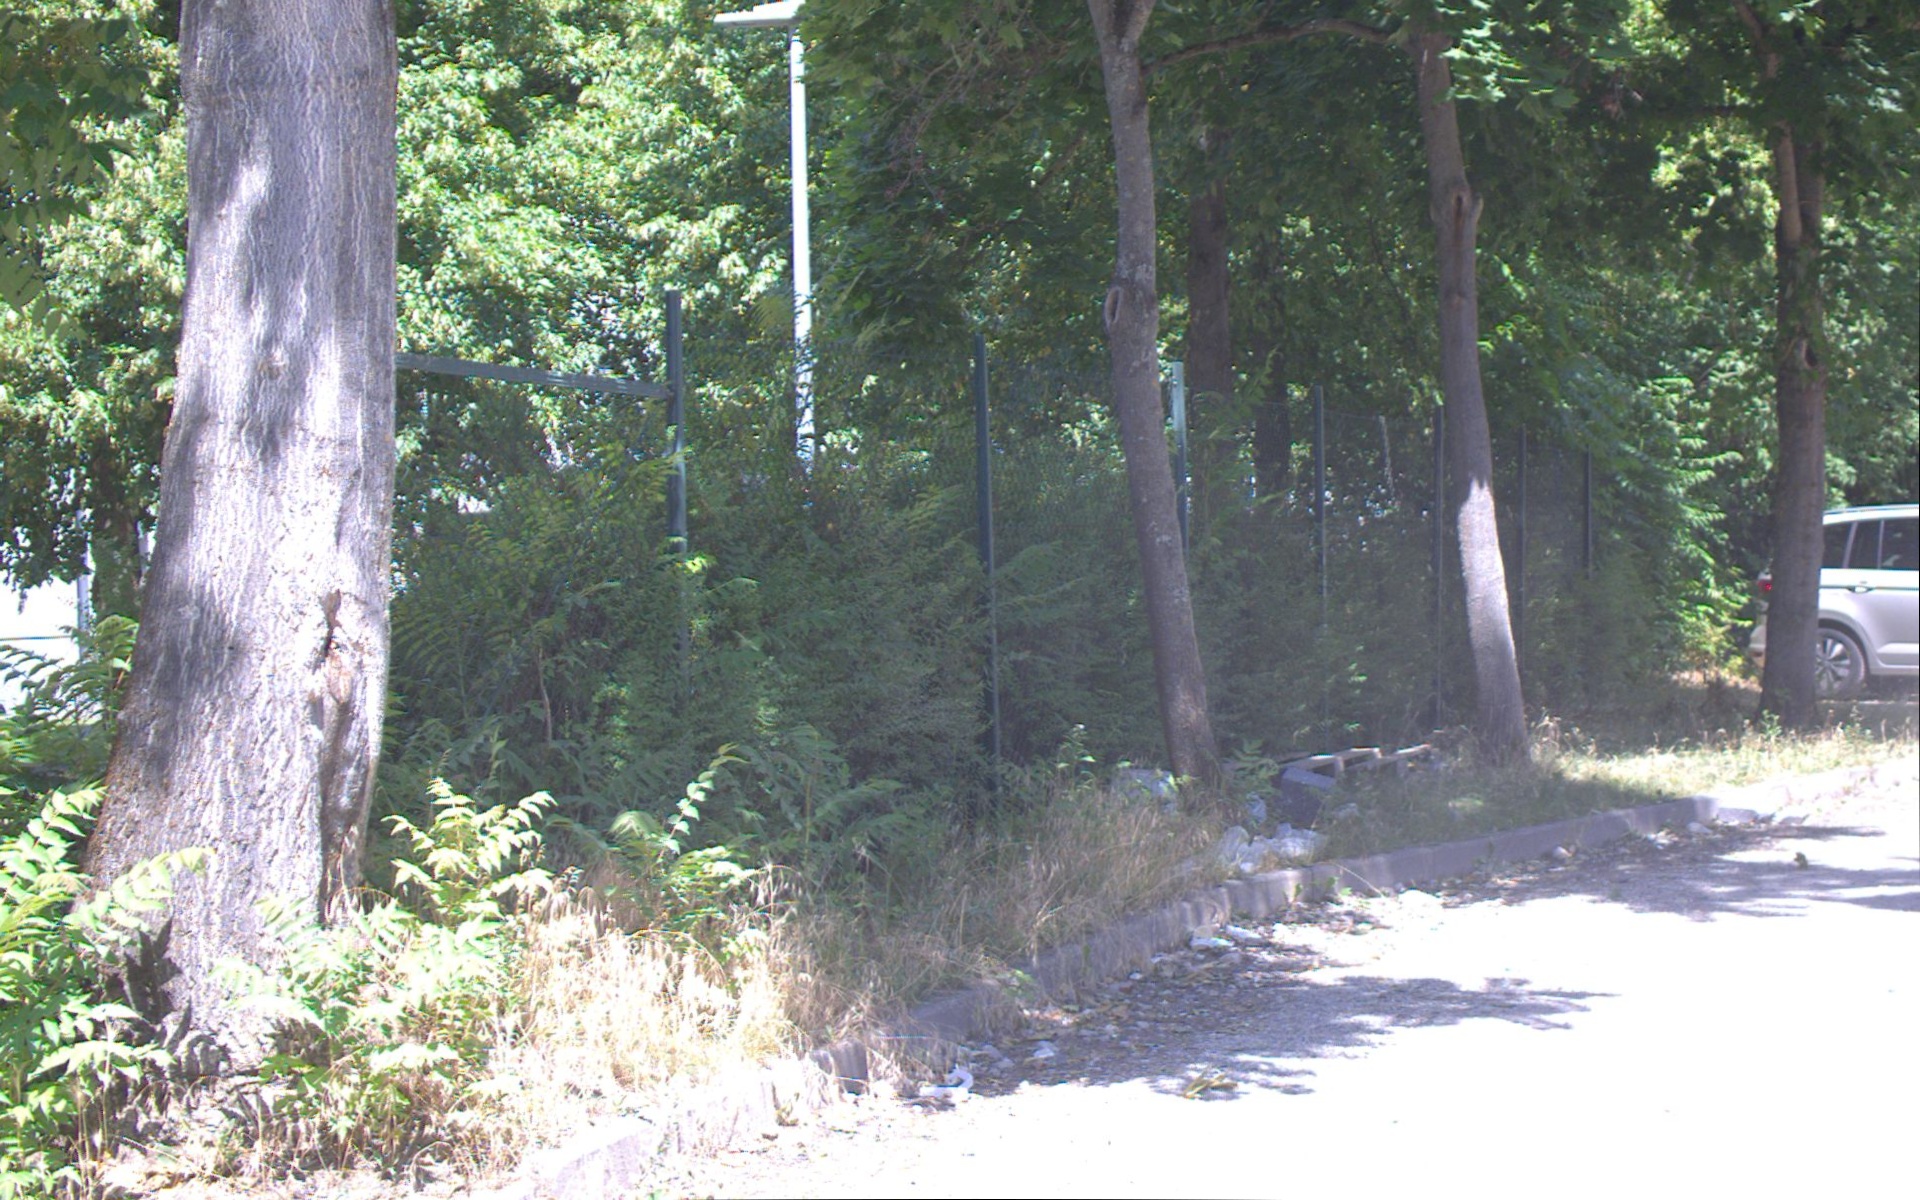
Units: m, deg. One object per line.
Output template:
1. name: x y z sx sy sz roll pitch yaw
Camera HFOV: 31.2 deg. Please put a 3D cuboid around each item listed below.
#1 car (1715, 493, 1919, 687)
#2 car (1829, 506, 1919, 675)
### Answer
1. car: 8.894 -0.078 28.989 4.514 1.604 1.996 -1 -1 35
2. car: 10.352 -0.122 31.055 4.514 1.526 1.722 -1 1 34
